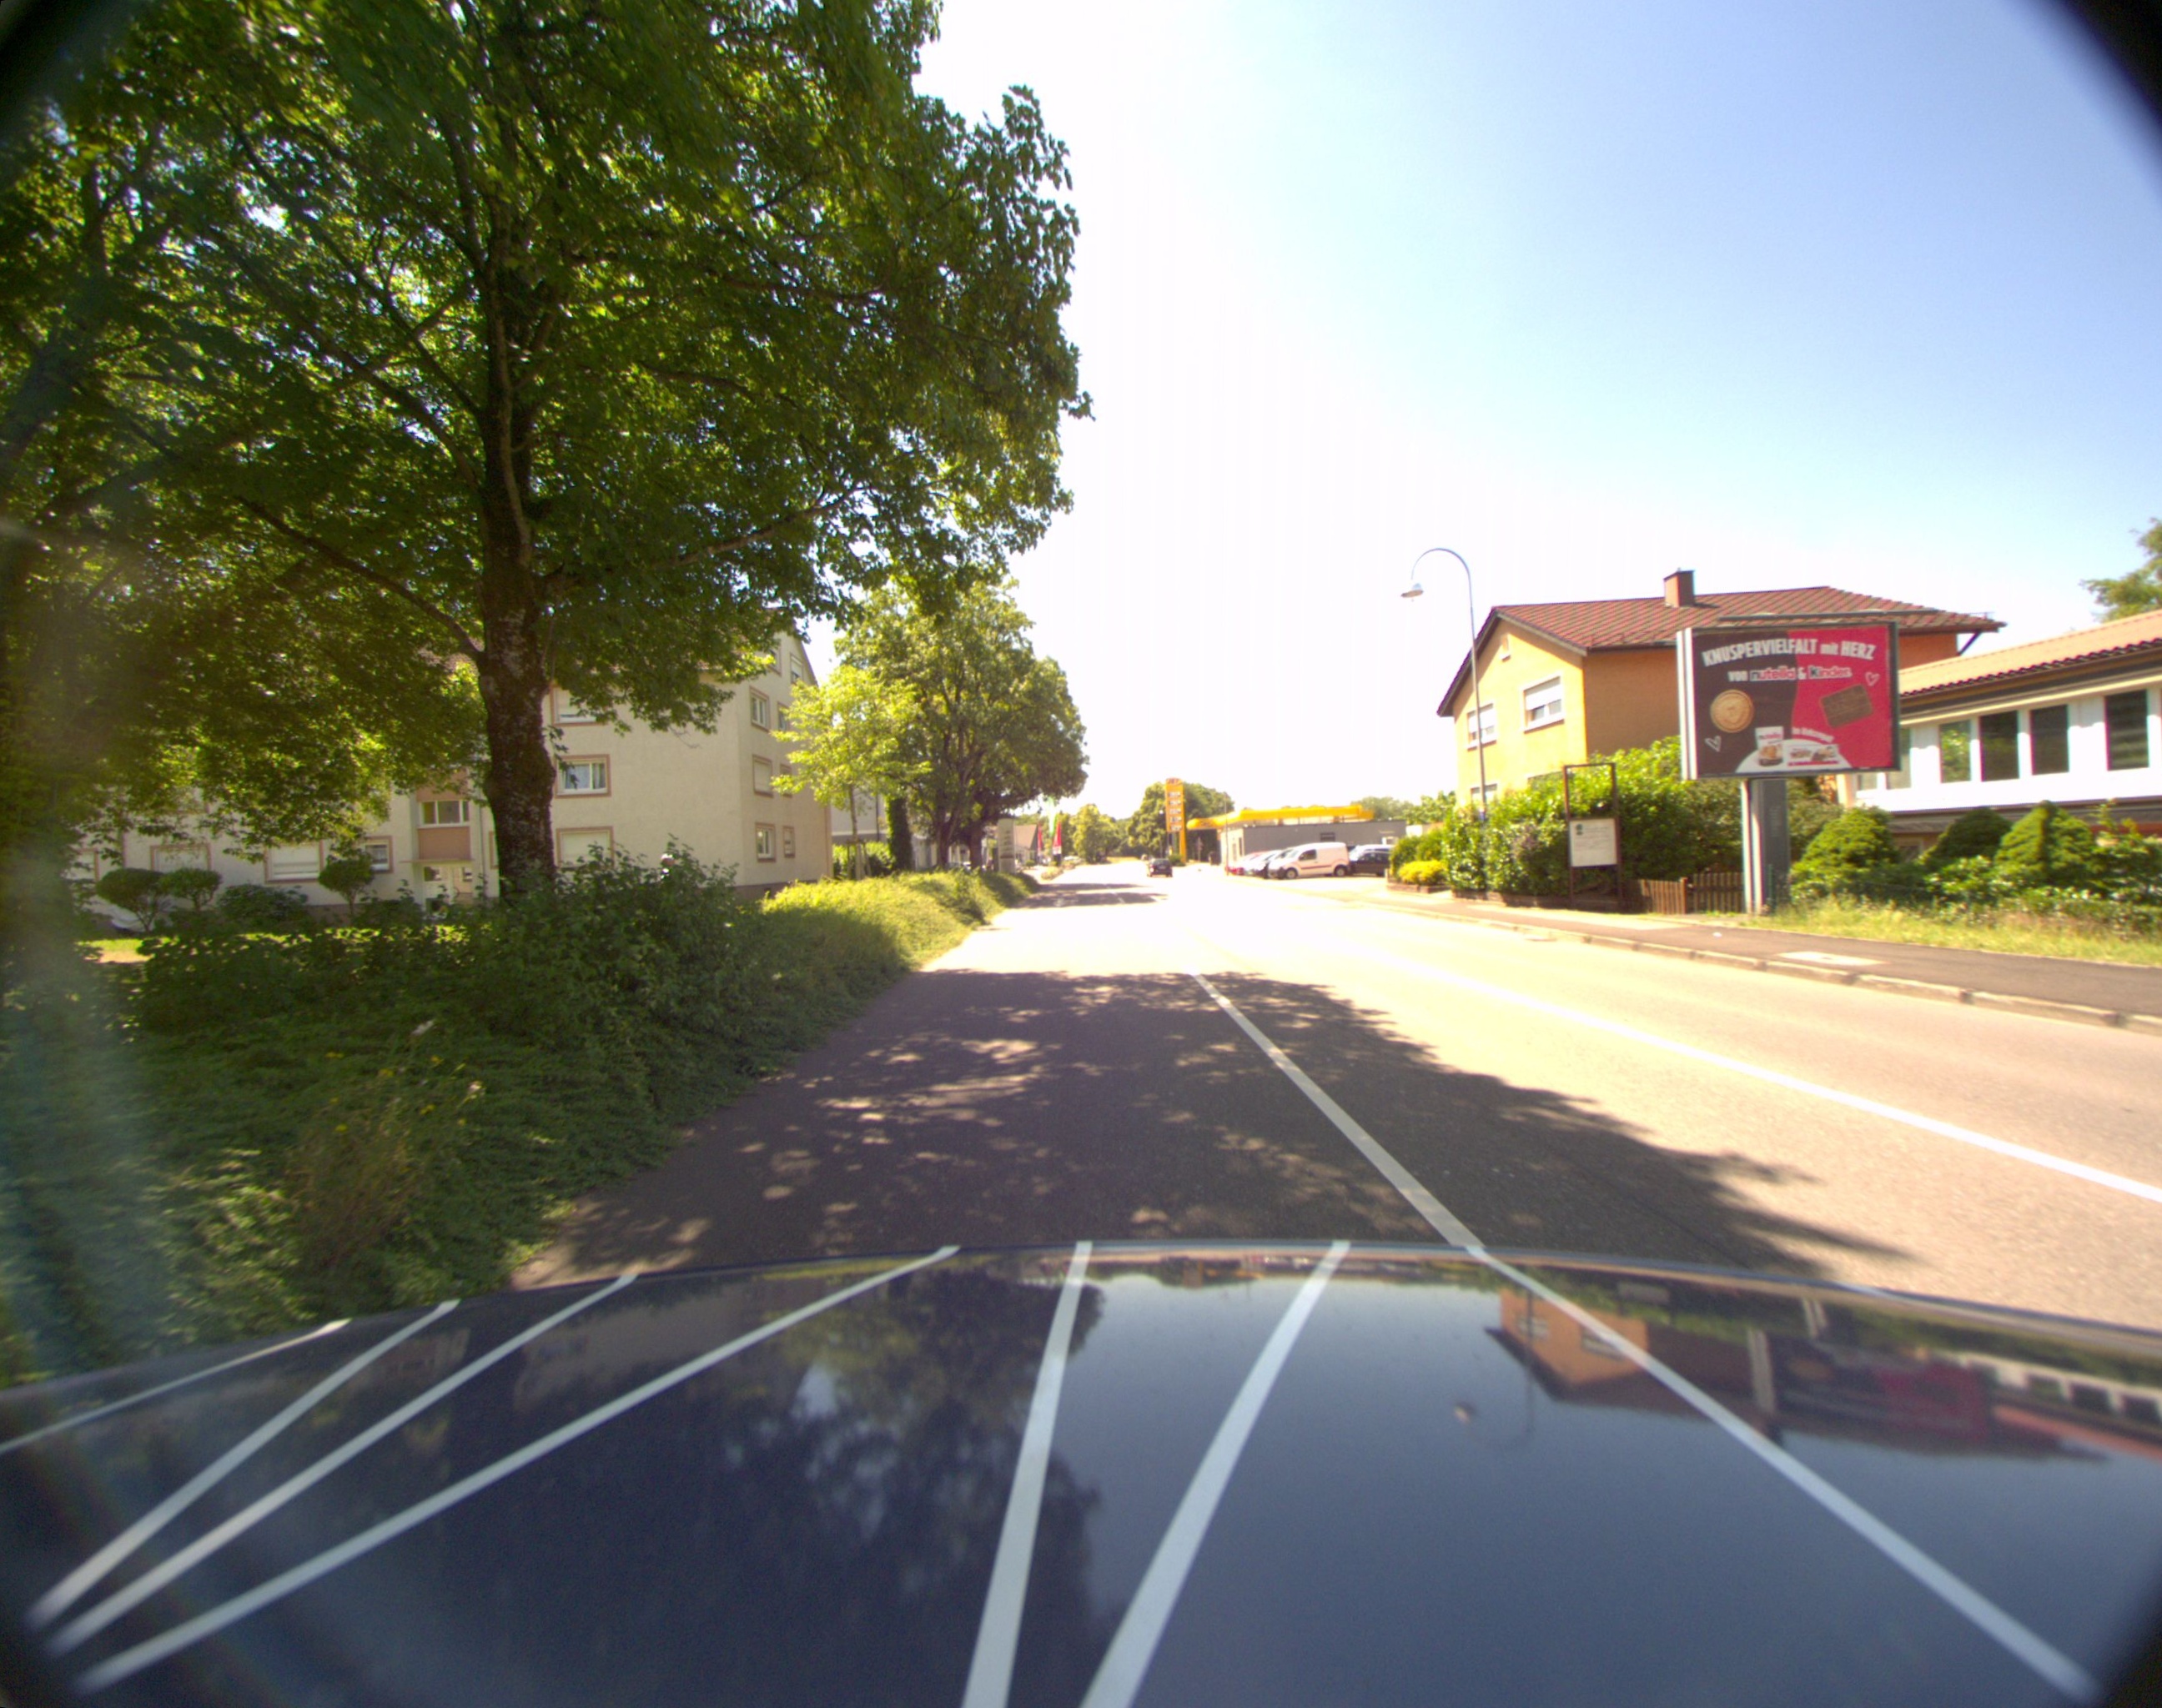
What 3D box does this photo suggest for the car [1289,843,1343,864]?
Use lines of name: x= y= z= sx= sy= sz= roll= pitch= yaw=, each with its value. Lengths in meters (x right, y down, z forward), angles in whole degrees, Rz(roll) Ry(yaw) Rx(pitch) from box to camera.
car: x=19.681 y=-0.035 z=63.678 sx=3.996 sy=1.575 sz=1.754 roll=-2 pitch=1 yaw=3

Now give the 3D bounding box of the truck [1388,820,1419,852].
truck: x=34.538 y=-1.904 z=81.480 sx=1.850 sy=3.223 sz=3.190 roll=-2 pitch=0 yaw=1

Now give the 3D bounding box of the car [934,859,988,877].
car: x=-10.543 y=1.191 z=66.652 sx=4.362 sy=1.363 sz=1.952 roll=-2 pitch=1 yaw=-22

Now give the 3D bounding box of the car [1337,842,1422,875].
car: x=16.797 y=0.250 z=42.846 sx=3.997 sy=1.559 sz=1.830 roll=-3 pitch=0 yaw=-1

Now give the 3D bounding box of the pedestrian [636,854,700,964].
pedestrian: x=-7.403 y=0.972 z=13.640 sx=0.705 sy=1.903 sz=0.660 roll=-2 pitch=1 yaw=4

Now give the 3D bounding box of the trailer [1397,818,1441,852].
trailer: x=34.464 y=-1.902 z=77.620 sx=1.869 sy=3.200 sz=5.914 roll=-2 pitch=0 yaw=1

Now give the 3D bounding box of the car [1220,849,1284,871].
car: x=12.159 y=0.414 z=54.315 sx=4.136 sy=1.435 sz=1.826 roll=-2 pitch=1 yaw=0

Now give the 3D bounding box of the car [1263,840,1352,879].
car: x=12.119 y=0.290 z=40.778 sx=4.105 sy=1.887 sz=1.999 roll=-2 pitch=1 yaw=-4

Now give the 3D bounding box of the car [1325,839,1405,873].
car: x=16.765 y=0.101 z=44.980 sx=3.912 sy=1.850 sz=2.000 roll=-2 pitch=0 yaw=-1

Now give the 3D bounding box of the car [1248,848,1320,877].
car: x=12.022 y=0.503 z=45.148 sx=3.673 sy=1.523 sz=1.922 roll=-2 pitch=1 yaw=-2

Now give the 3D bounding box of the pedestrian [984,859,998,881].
pedestrian: x=-7.135 y=1.270 z=60.080 sx=0.842 sy=1.632 sz=1.010 roll=-2 pitch=1 yaw=5

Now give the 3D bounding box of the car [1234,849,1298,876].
car: x=11.993 y=0.518 z=49.449 sx=3.673 sy=1.596 sz=1.881 roll=-2 pitch=1 yaw=-2

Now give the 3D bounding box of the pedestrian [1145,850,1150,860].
pedestrian: x=12.101 y=0.256 z=137.361 sx=0.730 sy=1.779 sz=0.621 roll=-2 pitch=1 yaw=14

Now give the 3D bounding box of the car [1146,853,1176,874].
car: x=6.015 y=0.721 z=57.479 sx=1.714 sy=1.486 sz=4.277 roll=-2 pitch=0 yaw=0

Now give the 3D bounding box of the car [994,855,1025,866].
car: x=-10.159 y=0.933 z=108.016 sx=3.992 sy=1.452 sz=1.807 roll=-2 pitch=1 yaw=16

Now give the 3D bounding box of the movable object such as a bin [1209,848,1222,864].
movable object such as a bin: x=13.684 y=0.179 z=77.582 sx=0.954 sy=1.508 sz=1.428 roll=-7 pitch=-1 yaw=1

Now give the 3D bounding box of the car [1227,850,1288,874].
car: x=12.021 y=0.511 z=51.886 sx=3.673 sy=1.449 sz=1.892 roll=-2 pitch=1 yaw=-2

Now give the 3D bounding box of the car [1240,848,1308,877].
car: x=11.945 y=0.514 z=47.255 sx=3.673 sy=1.572 sz=1.922 roll=-2 pitch=1 yaw=-2

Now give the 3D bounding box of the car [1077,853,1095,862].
car: x=0.977 y=0.700 z=146.521 sx=3.405 sy=1.497 sz=1.582 roll=-2 pitch=0 yaw=2

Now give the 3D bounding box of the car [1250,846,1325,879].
car: x=11.601 y=0.470 z=42.878 sx=3.673 sy=1.663 sz=1.922 roll=-2 pitch=1 yaw=-2

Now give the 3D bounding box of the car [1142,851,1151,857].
car: x=17.185 y=0.046 z=199.282 sx=1.973 sy=1.662 sz=4.250 roll=-2 pitch=0 yaw=6

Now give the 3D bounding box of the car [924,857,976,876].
car: x=-10.828 y=1.027 z=62.915 sx=3.997 sy=1.541 sz=1.797 roll=-1 pitch=1 yaw=0
